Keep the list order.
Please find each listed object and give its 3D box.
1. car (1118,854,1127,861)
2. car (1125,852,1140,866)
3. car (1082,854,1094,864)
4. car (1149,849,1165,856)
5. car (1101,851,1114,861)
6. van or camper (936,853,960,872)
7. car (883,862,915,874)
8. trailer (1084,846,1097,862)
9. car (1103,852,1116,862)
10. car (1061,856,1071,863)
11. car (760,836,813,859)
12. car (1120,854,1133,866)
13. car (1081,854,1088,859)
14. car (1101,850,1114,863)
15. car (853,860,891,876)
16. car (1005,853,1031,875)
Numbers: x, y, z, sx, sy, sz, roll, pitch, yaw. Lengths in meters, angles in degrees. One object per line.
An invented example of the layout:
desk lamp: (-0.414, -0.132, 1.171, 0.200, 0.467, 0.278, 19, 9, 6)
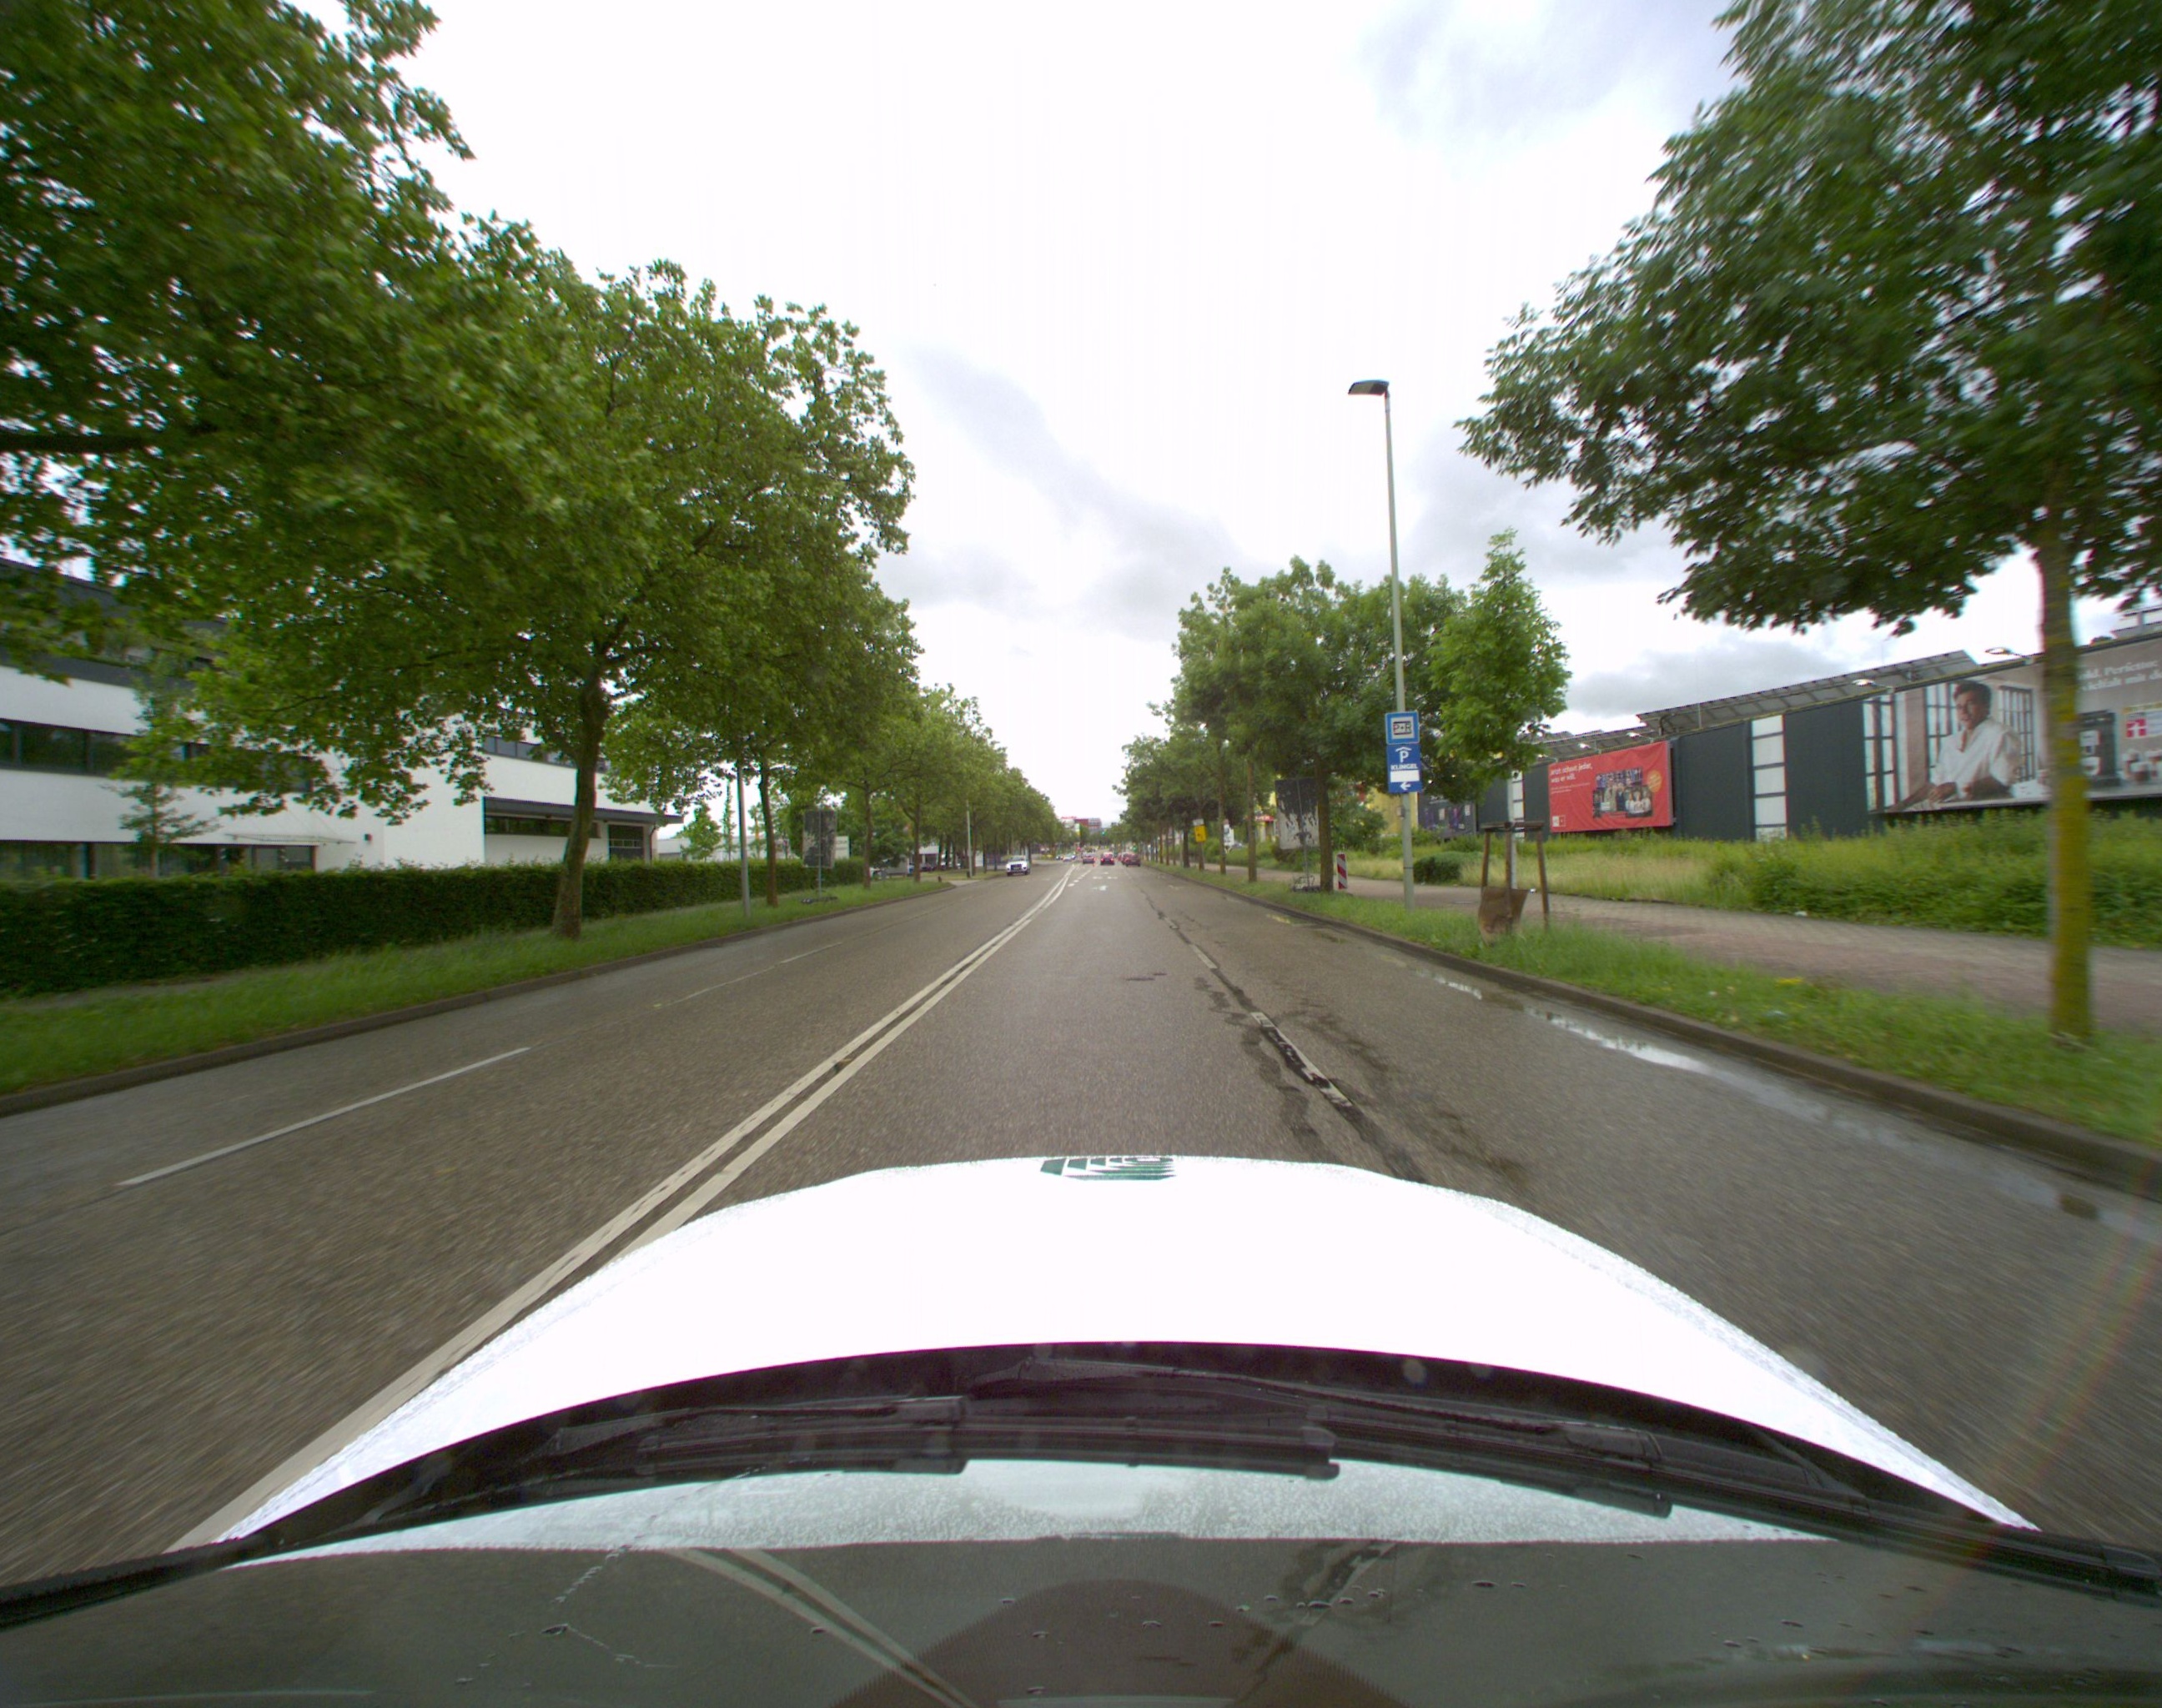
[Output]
car: (8.285, 0.730, 163.201, 1.689, 1.443, 3.991, -2, 0, 2)
car: (6.434, 0.600, 102.516, 1.720, 1.624, 4.472, -2, 0, 2)
car: (1.155, 0.825, 139.427, 1.900, 1.578, 4.882, -3, 0, 2)
car: (19.890, -0.433, 214.148, 1.908, 1.576, 4.314, -2, 0, 43)
car: (3.703, 0.309, 116.204, 1.775, 1.398, 4.000, -1, 0, 1)
van or camper: (-18.150, 1.104, 111.756, 1.986, 2.470, 6.404, -1, 0, 2)
car: (-25.442, 1.966, 113.891, 3.957, 1.520, 1.873, -2, 0, 16)
trailer: (1.753, 0.059, 154.343, 2.365, 2.897, 5.545, -2, 0, 0)
car: (4.269, 0.451, 122.913, 1.678, 1.377, 3.997, -2, 0, -2)
car: (-3.331, 1.106, 179.607, 1.989, 1.429, 4.680, -3, 0, -3)
car: (-26.305, -0.592, 72.815, 3.971, 1.889, 1.964, -2, 0, 2)
car: (6.792, 0.878, 121.494, 1.794, 1.587, 4.453, 0, 0, 2)
car: (0.984, 0.596, 212.371, 1.678, 1.377, 3.997, -2, 0, -2)
car: (4.175, 0.429, 129.935, 1.986, 2.014, 4.001, 0, -1, 1)
car: (-25.365, 1.749, 98.951, 3.975, 1.767, 1.881, -2, 0, -1)
car: (-5.758, 0.876, 74.934, 1.905, 1.805, 5.341, -3, 0, 0)
